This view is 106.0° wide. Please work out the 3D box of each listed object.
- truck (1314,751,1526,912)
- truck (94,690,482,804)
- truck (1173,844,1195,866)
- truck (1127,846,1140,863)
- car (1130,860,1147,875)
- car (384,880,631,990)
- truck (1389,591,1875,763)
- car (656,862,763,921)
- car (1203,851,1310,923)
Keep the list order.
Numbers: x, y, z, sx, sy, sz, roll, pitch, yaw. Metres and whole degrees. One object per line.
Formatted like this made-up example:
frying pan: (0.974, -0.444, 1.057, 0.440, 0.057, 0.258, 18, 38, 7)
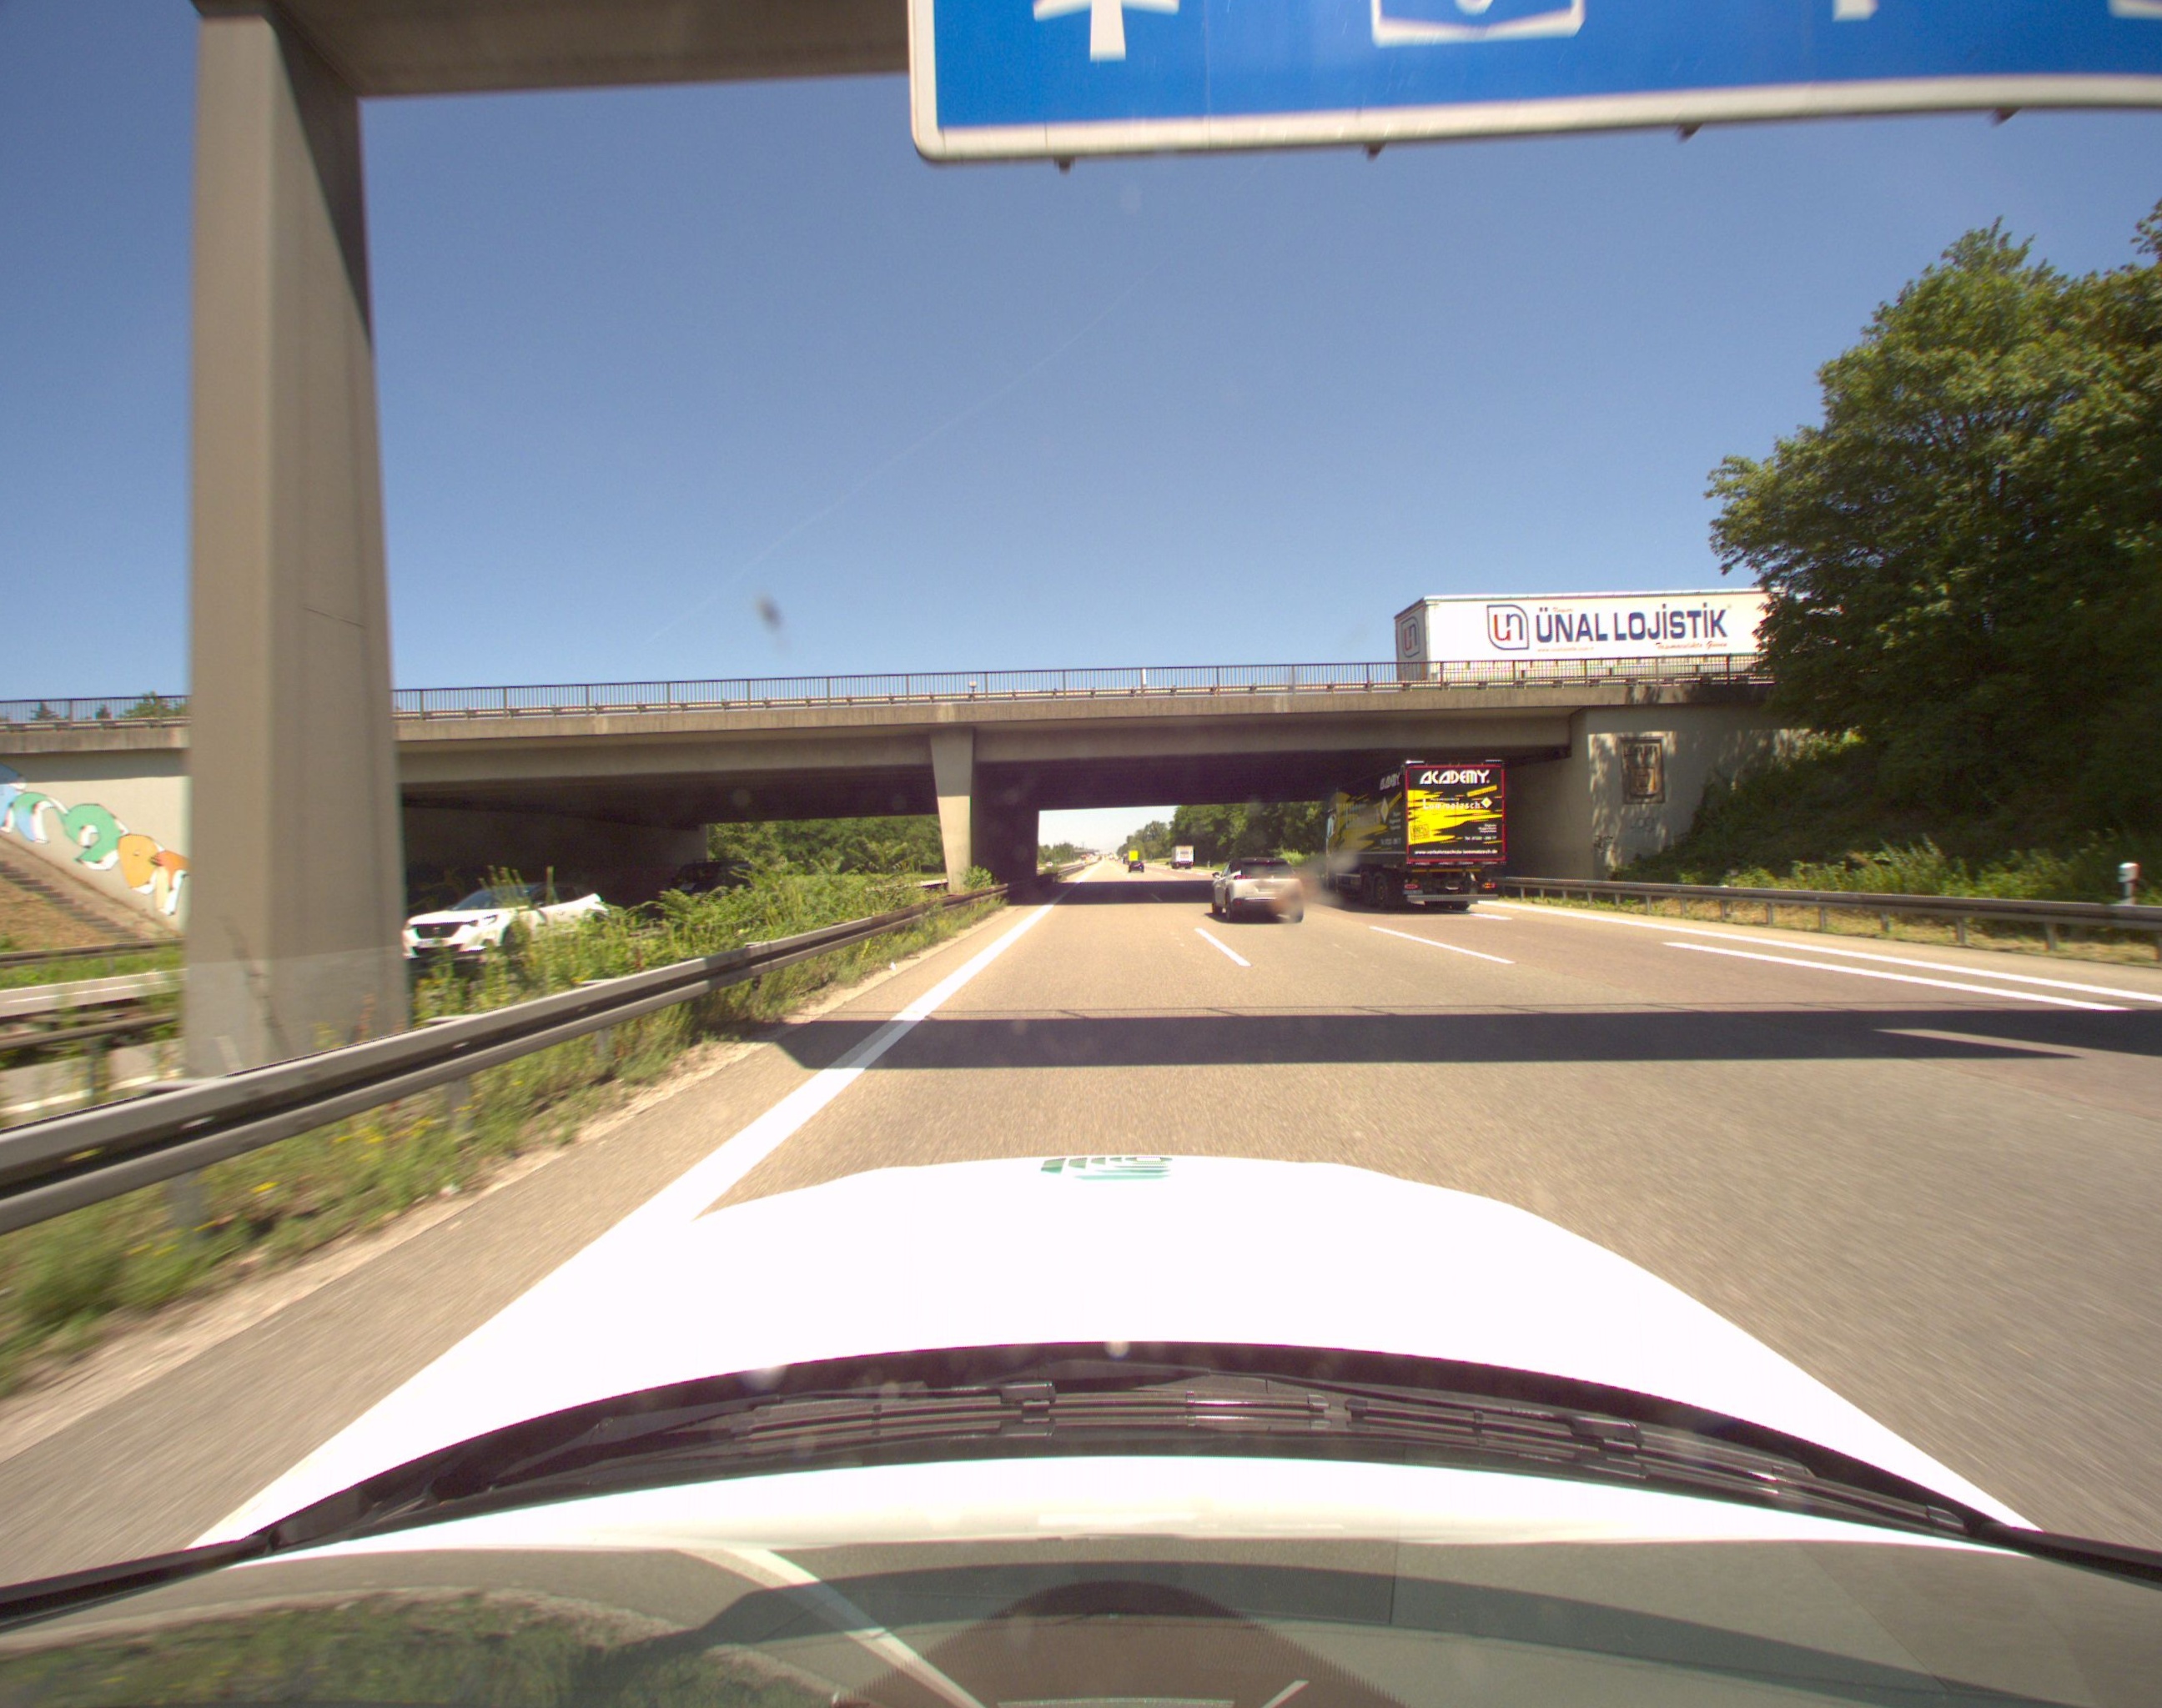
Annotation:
truck: (10.064, -0.511, 25.936, 2.961, 4.037, 10.993, 0, -1, 4)
truck: (-42.056, -5.582, 43.799, 16.438, 5.566, 3.168, 0, -1, -6)
truck: (15.783, 0.213, 125.235, 3.013, 3.319, 10.788, -1, -1, 6)
truck: (15.430, 0.338, 240.314, 3.363, 4.881, 15.095, 0, -1, 3)
car: (6.710, 1.524, 95.706, 1.820, 1.706, 4.001, 0, -1, 1)
car: (-11.369, 1.494, 16.663, 1.685, 1.816, 4.714, 0, -1, 0)
truck: (20.163, -6.361, 30.266, 16.425, 5.566, 3.171, 0, -1, -4)
car: (-16.393, 1.574, 36.346, 2.082, 2.399, 5.734, 0, -1, 0)
car: (4.351, 0.783, 20.908, 1.820, 1.608, 4.810, -1, -1, 1)
